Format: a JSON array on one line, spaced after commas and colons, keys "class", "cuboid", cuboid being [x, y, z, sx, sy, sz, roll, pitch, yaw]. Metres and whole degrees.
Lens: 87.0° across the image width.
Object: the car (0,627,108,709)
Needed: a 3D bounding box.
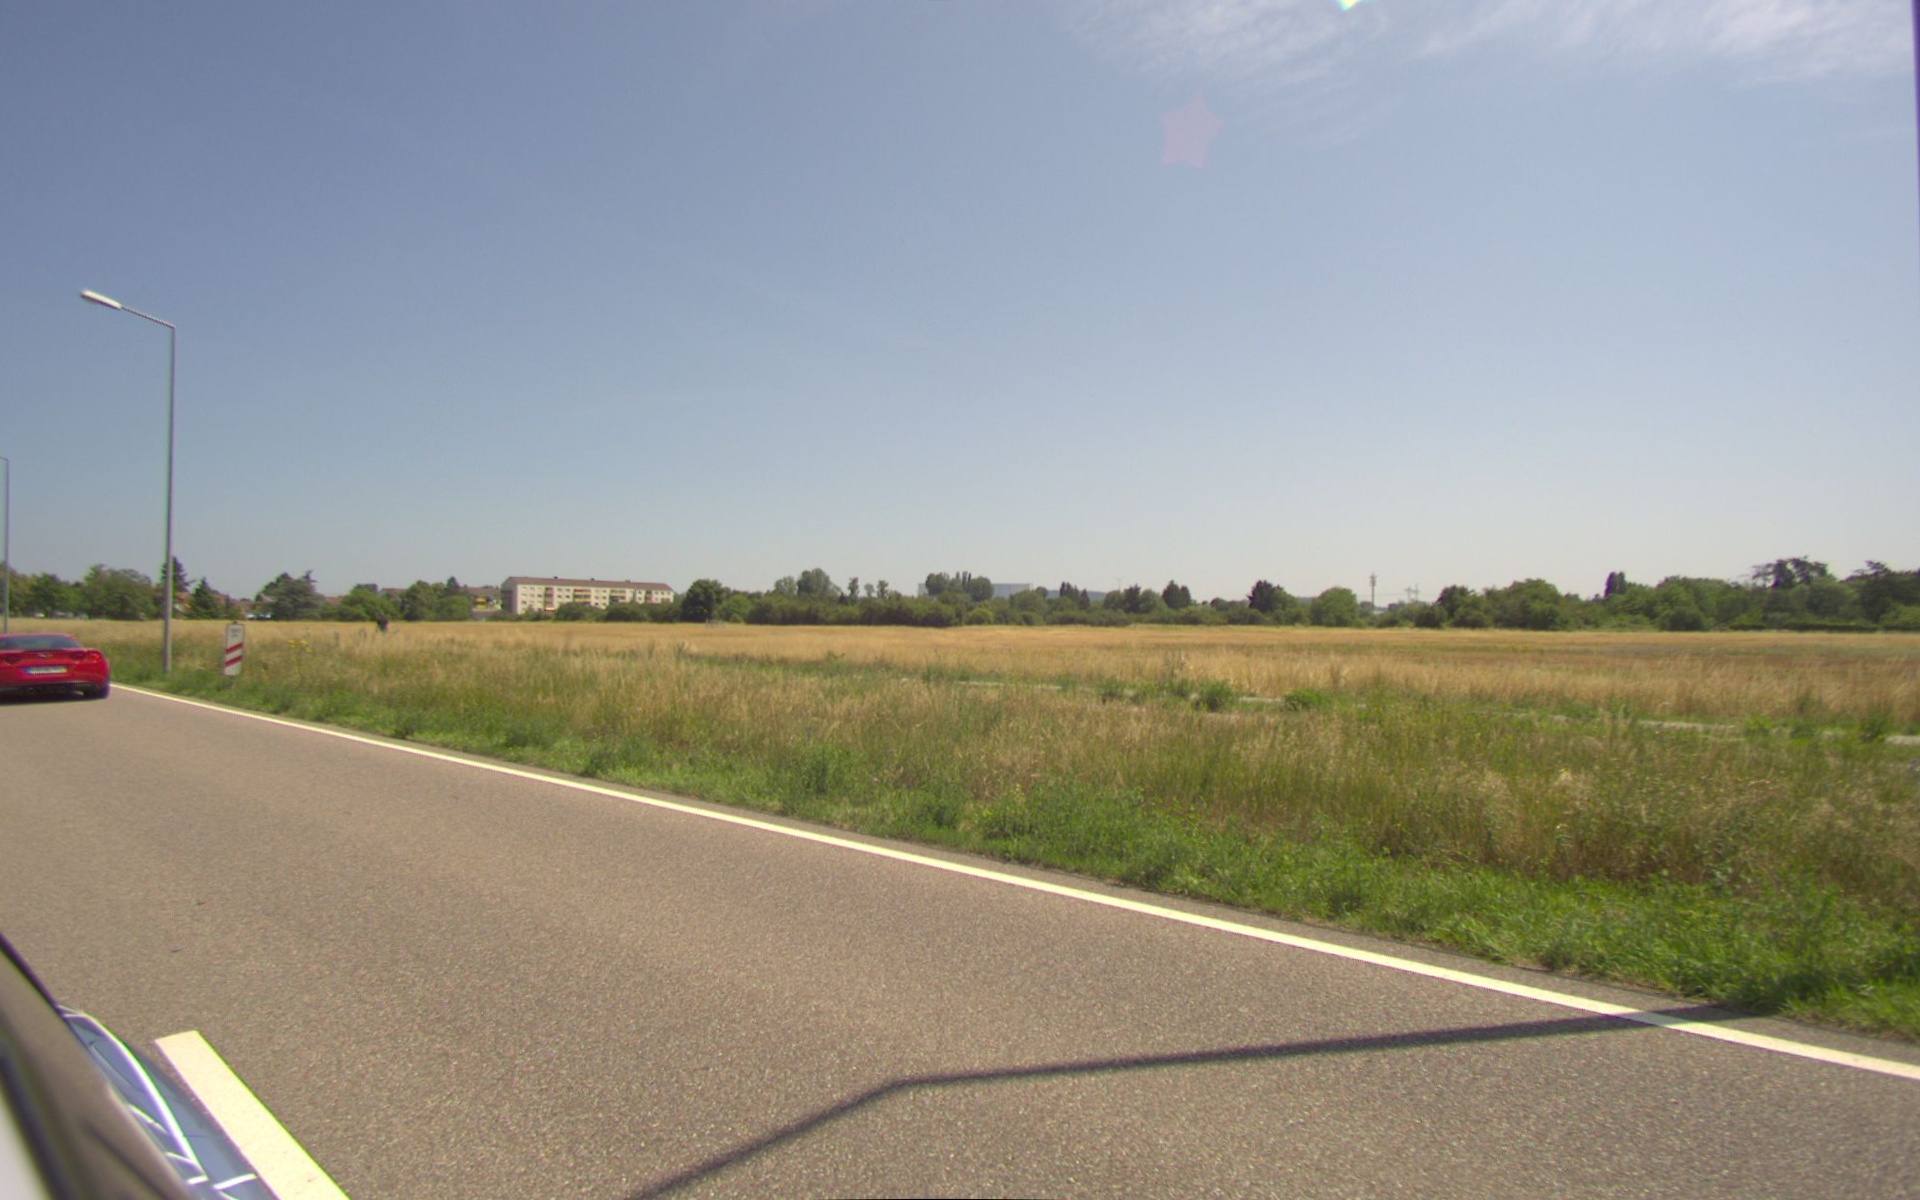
[{"class": "car", "cuboid": [-17.304, 1.179, 18.672, 4.284, 1.295, 1.788, 0, -1, 41]}]
